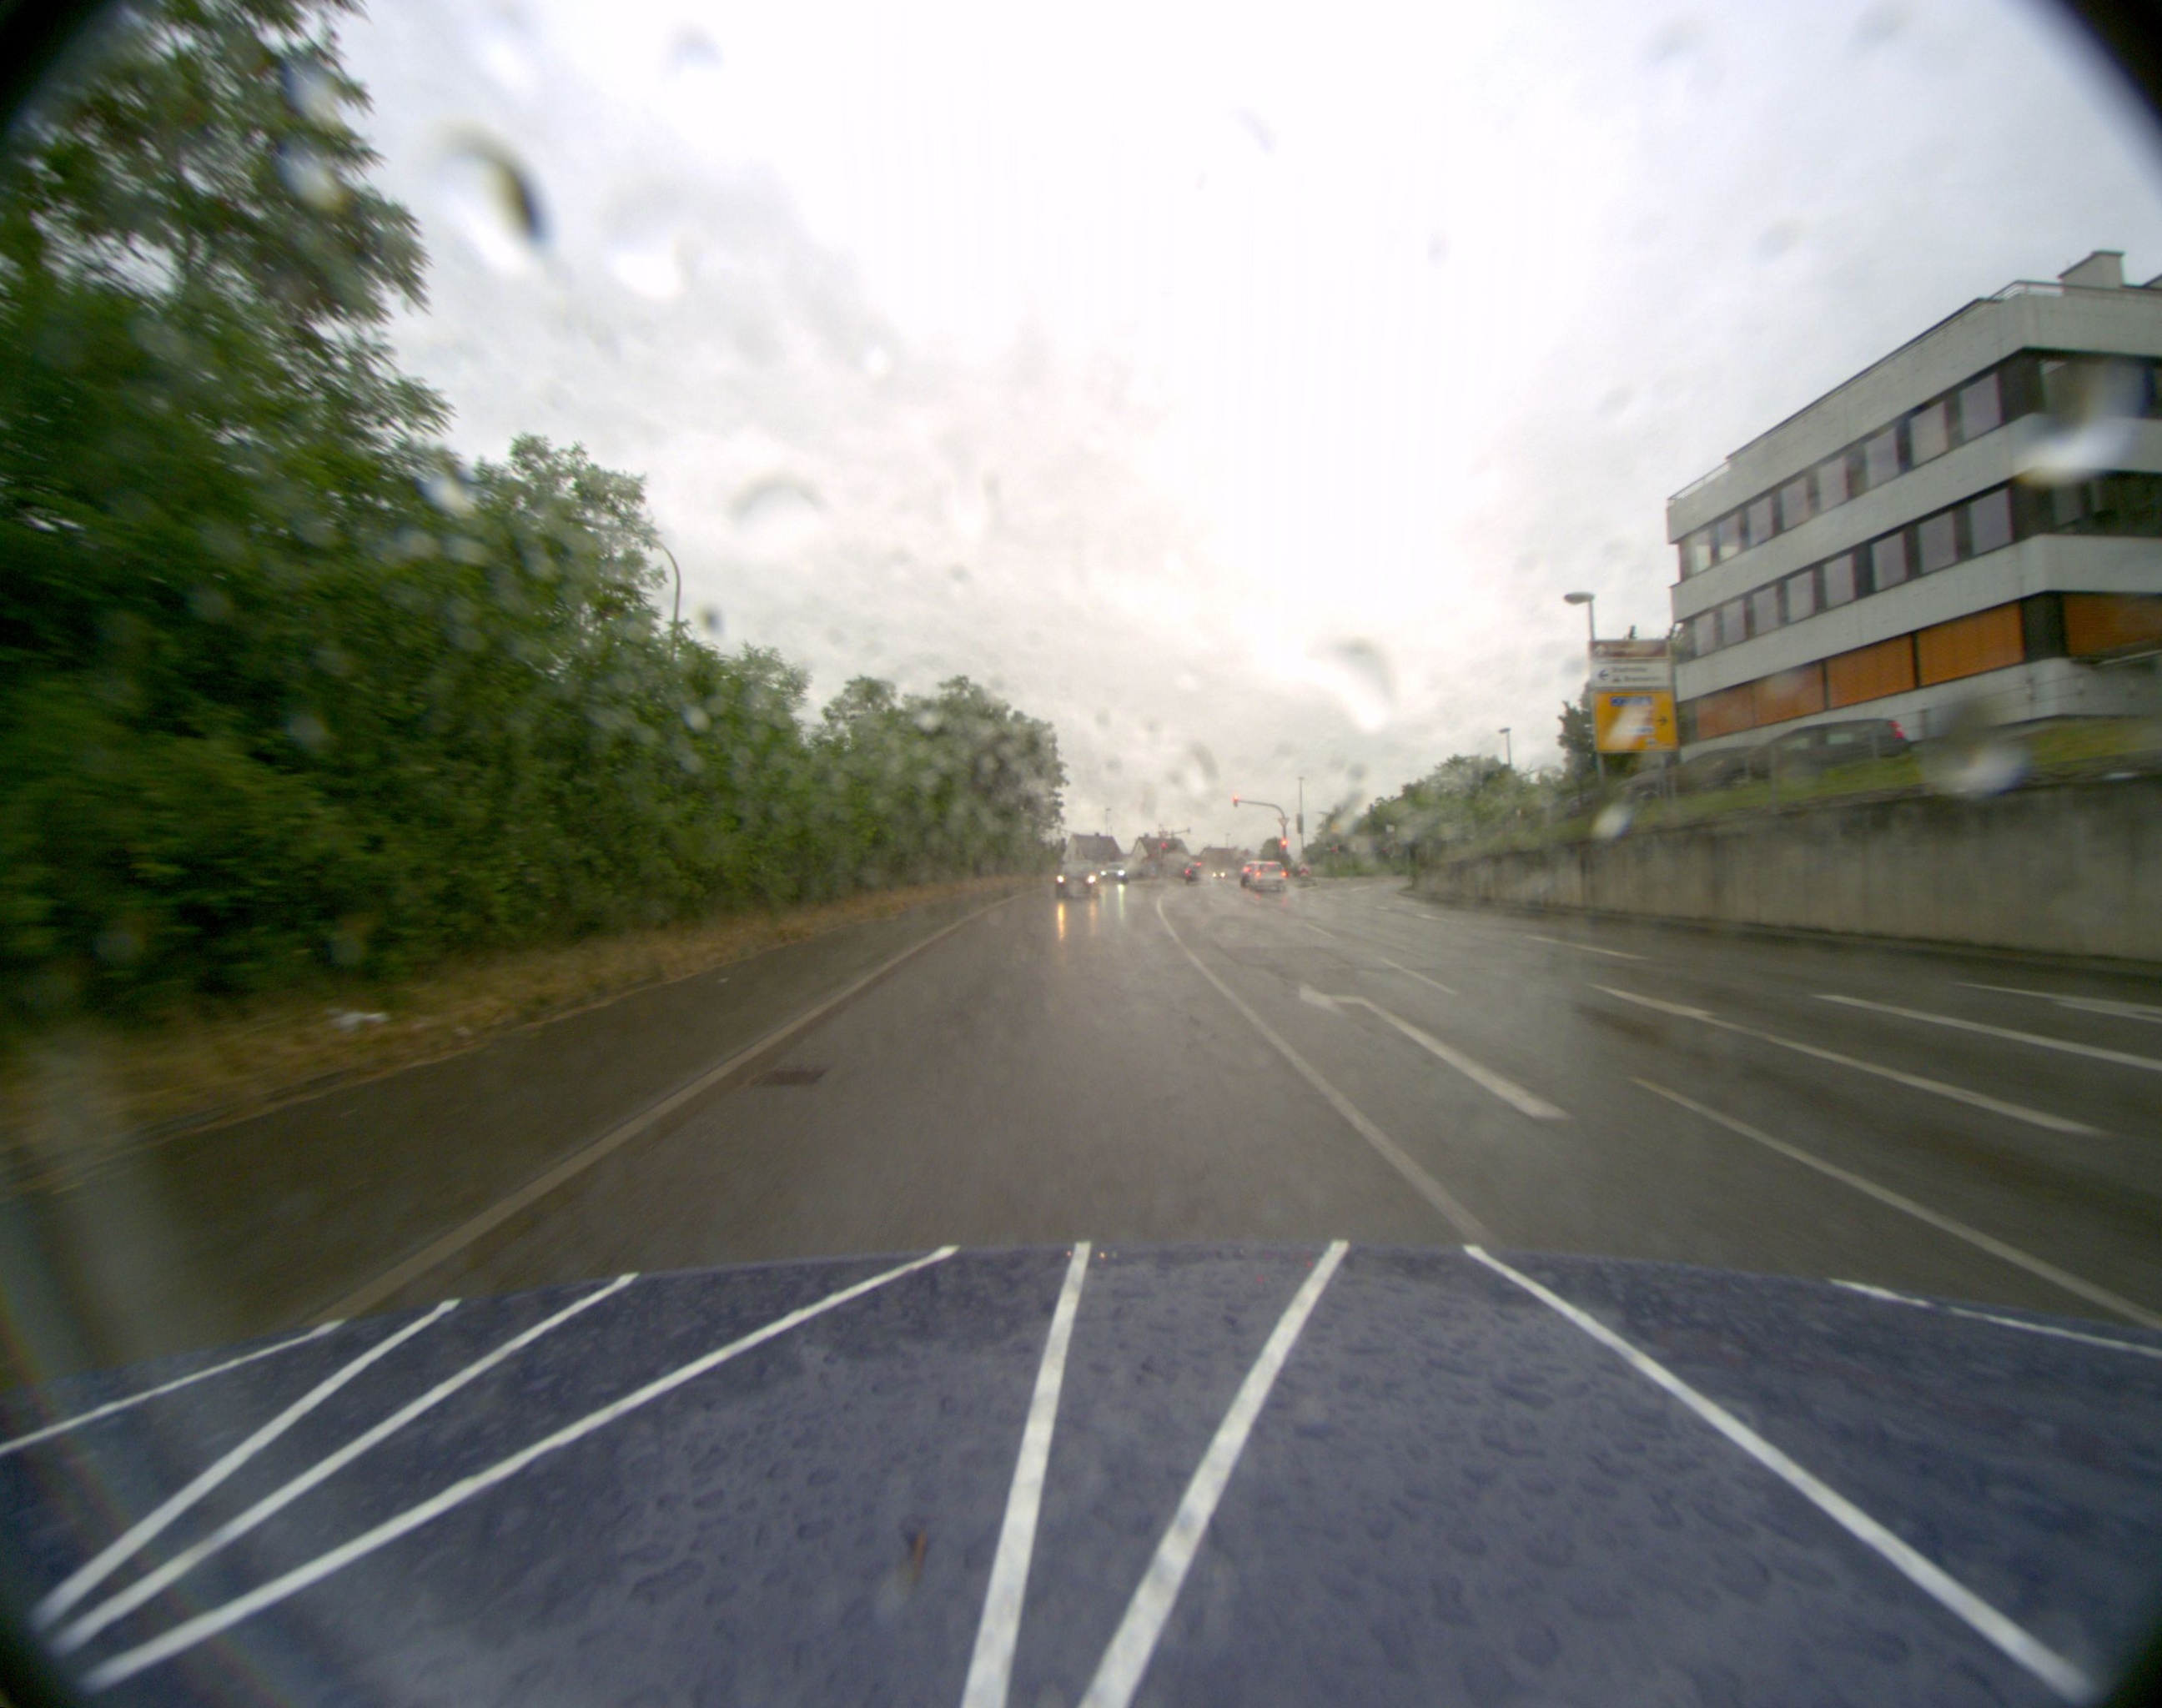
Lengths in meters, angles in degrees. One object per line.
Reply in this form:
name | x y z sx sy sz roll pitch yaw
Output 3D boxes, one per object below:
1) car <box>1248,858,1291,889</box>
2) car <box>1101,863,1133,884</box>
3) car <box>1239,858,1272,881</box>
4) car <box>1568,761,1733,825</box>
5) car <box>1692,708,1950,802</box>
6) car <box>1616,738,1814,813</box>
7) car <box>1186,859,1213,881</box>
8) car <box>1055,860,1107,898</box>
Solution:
car | 9.778 0.982 39.655 1.737 1.452 3.723 -2 1 7
car | 2.617 1.385 54.504 1.872 1.432 4.381 0 0 8
car | 11.195 0.986 48.904 1.737 1.297 3.723 -2 1 7
car | 17.737 -1.841 23.909 3.989 1.644 2.004 -2 1 34
car | 16.892 -2.184 17.683 3.989 1.644 2.004 -2 1 34
car | 17.232 -2.064 20.953 3.989 1.644 2.004 -2 1 34
car | 8.125 1.059 52.319 1.737 1.297 3.723 -2 1 7
car | 0.069 0.984 31.633 1.873 1.432 4.379 0 0 4
